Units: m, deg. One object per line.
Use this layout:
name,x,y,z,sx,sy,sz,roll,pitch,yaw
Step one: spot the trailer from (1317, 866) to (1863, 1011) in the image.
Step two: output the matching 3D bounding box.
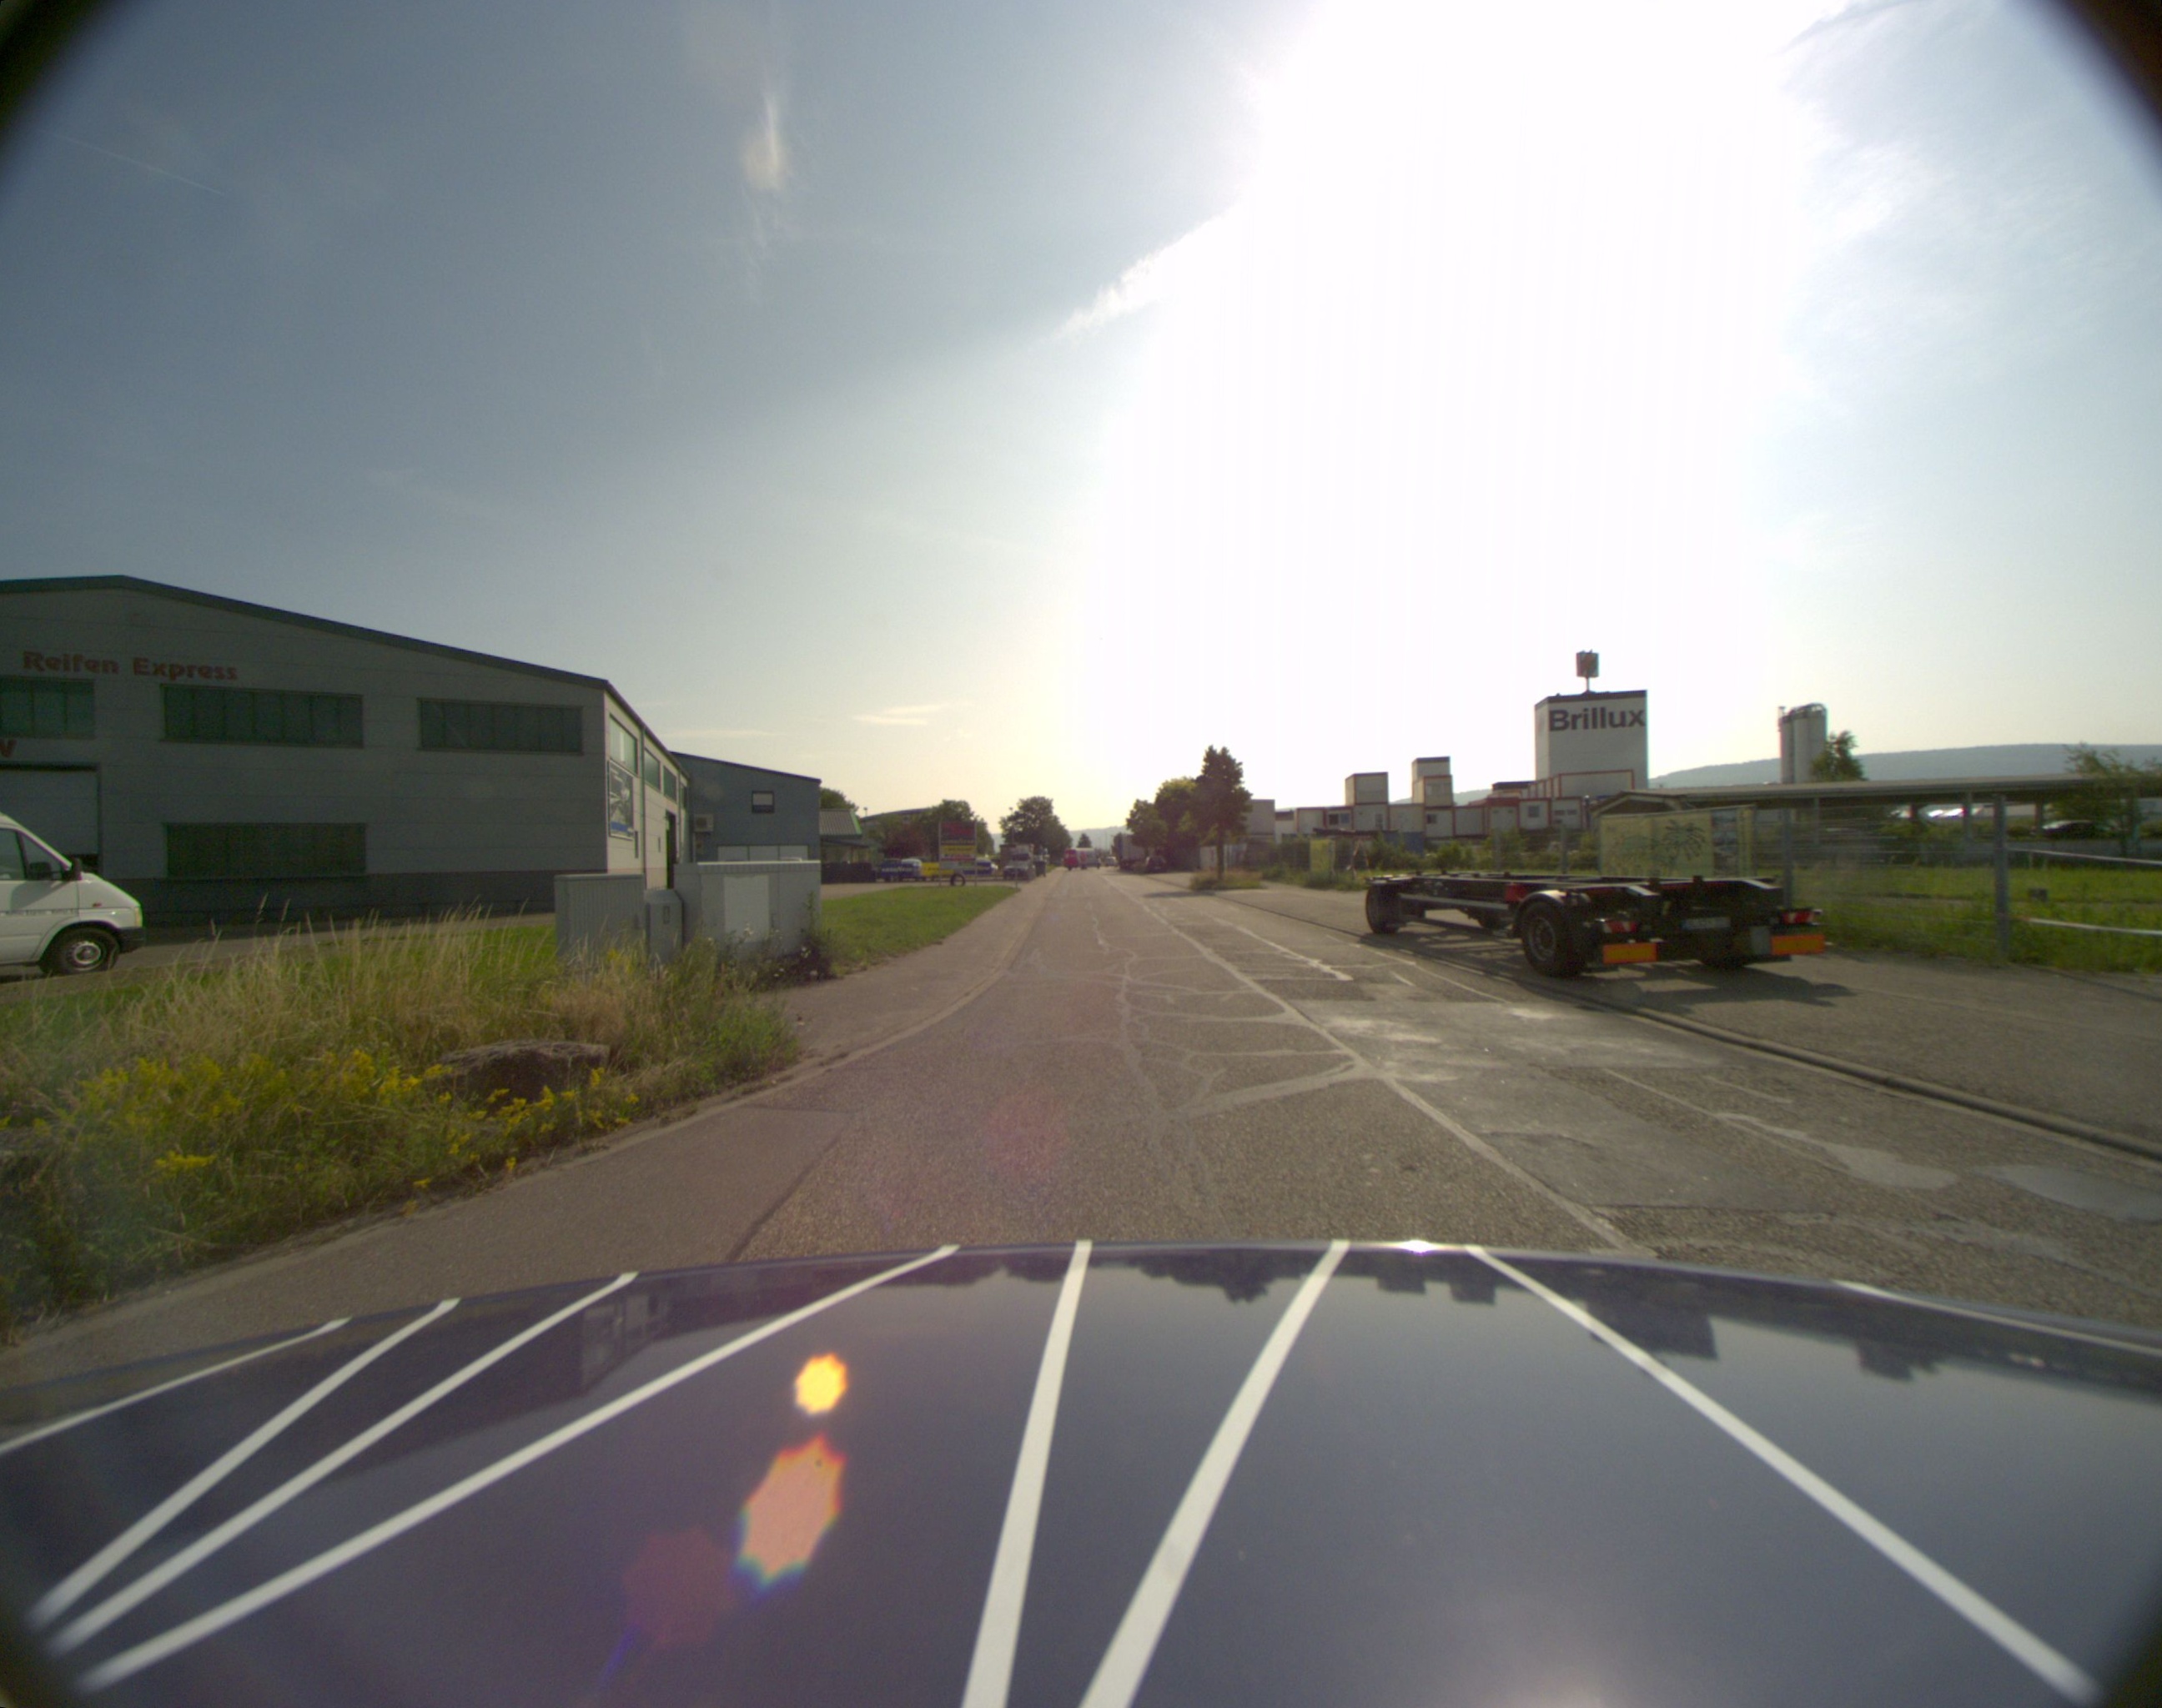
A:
trailer,6.697,0.938,12.495,2.589,1.177,9.361,-3,0,-1

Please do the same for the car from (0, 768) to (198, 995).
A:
car,-13.784,0.347,7.990,1.979,2.690,5.880,-1,0,1

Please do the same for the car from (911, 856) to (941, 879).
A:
car,-12.255,1.039,59.976,1.646,1.710,3.207,-2,0,-24

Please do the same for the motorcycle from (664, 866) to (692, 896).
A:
motorcycle,-15.636,1.012,29.531,0.804,1.088,2.198,-2,0,-24

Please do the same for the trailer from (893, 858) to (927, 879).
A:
trailer,-11.081,0.906,49.154,1.496,1.241,2.971,-3,0,-24

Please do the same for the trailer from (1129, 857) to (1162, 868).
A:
trailer,6.417,0.857,76.302,2.656,0.979,6.242,-1,0,-1

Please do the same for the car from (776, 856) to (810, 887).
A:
car,-15.974,0.938,42.080,1.641,1.559,3.798,-2,0,-22

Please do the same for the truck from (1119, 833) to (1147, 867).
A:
truck,6.369,-0.504,93.984,2.720,3.862,9.635,-3,0,0

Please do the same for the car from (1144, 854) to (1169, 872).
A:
car,6.360,0.743,64.442,1.691,1.461,4.093,-1,0,1

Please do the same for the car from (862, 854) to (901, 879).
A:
car,-12.825,0.792,48.734,1.646,1.457,4.452,-2,0,-24

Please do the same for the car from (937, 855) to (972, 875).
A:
car,-10.242,0.874,61.270,1.723,1.563,4.125,-2,0,-24

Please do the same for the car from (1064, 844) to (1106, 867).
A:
car,0.528,0.164,92.768,2.275,2.524,6.756,-2,0,27

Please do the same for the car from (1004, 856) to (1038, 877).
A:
car,-4.081,0.833,52.508,1.677,1.361,4.394,-1,0,4

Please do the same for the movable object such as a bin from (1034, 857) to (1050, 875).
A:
movable object such as a bin,-3.050,0.916,59.693,1.083,1.345,1.506,1,0,2

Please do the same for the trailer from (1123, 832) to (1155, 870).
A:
trailer,6.318,-0.366,84.301,2.707,3.862,9.764,-3,0,0

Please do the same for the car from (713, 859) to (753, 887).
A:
car,-18.572,0.995,40.644,1.683,1.394,3.705,-2,0,-22

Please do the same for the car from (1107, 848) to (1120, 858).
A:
car,5.203,-0.210,123.452,1.816,1.617,4.248,-1,0,-1

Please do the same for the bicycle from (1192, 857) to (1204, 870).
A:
bicycle,9.773,0.789,63.727,0.563,0.967,2.452,-1,0,-1

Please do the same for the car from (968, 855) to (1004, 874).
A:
car,-7.831,0.842,62.120,1.695,1.457,4.254,-1,0,-24
